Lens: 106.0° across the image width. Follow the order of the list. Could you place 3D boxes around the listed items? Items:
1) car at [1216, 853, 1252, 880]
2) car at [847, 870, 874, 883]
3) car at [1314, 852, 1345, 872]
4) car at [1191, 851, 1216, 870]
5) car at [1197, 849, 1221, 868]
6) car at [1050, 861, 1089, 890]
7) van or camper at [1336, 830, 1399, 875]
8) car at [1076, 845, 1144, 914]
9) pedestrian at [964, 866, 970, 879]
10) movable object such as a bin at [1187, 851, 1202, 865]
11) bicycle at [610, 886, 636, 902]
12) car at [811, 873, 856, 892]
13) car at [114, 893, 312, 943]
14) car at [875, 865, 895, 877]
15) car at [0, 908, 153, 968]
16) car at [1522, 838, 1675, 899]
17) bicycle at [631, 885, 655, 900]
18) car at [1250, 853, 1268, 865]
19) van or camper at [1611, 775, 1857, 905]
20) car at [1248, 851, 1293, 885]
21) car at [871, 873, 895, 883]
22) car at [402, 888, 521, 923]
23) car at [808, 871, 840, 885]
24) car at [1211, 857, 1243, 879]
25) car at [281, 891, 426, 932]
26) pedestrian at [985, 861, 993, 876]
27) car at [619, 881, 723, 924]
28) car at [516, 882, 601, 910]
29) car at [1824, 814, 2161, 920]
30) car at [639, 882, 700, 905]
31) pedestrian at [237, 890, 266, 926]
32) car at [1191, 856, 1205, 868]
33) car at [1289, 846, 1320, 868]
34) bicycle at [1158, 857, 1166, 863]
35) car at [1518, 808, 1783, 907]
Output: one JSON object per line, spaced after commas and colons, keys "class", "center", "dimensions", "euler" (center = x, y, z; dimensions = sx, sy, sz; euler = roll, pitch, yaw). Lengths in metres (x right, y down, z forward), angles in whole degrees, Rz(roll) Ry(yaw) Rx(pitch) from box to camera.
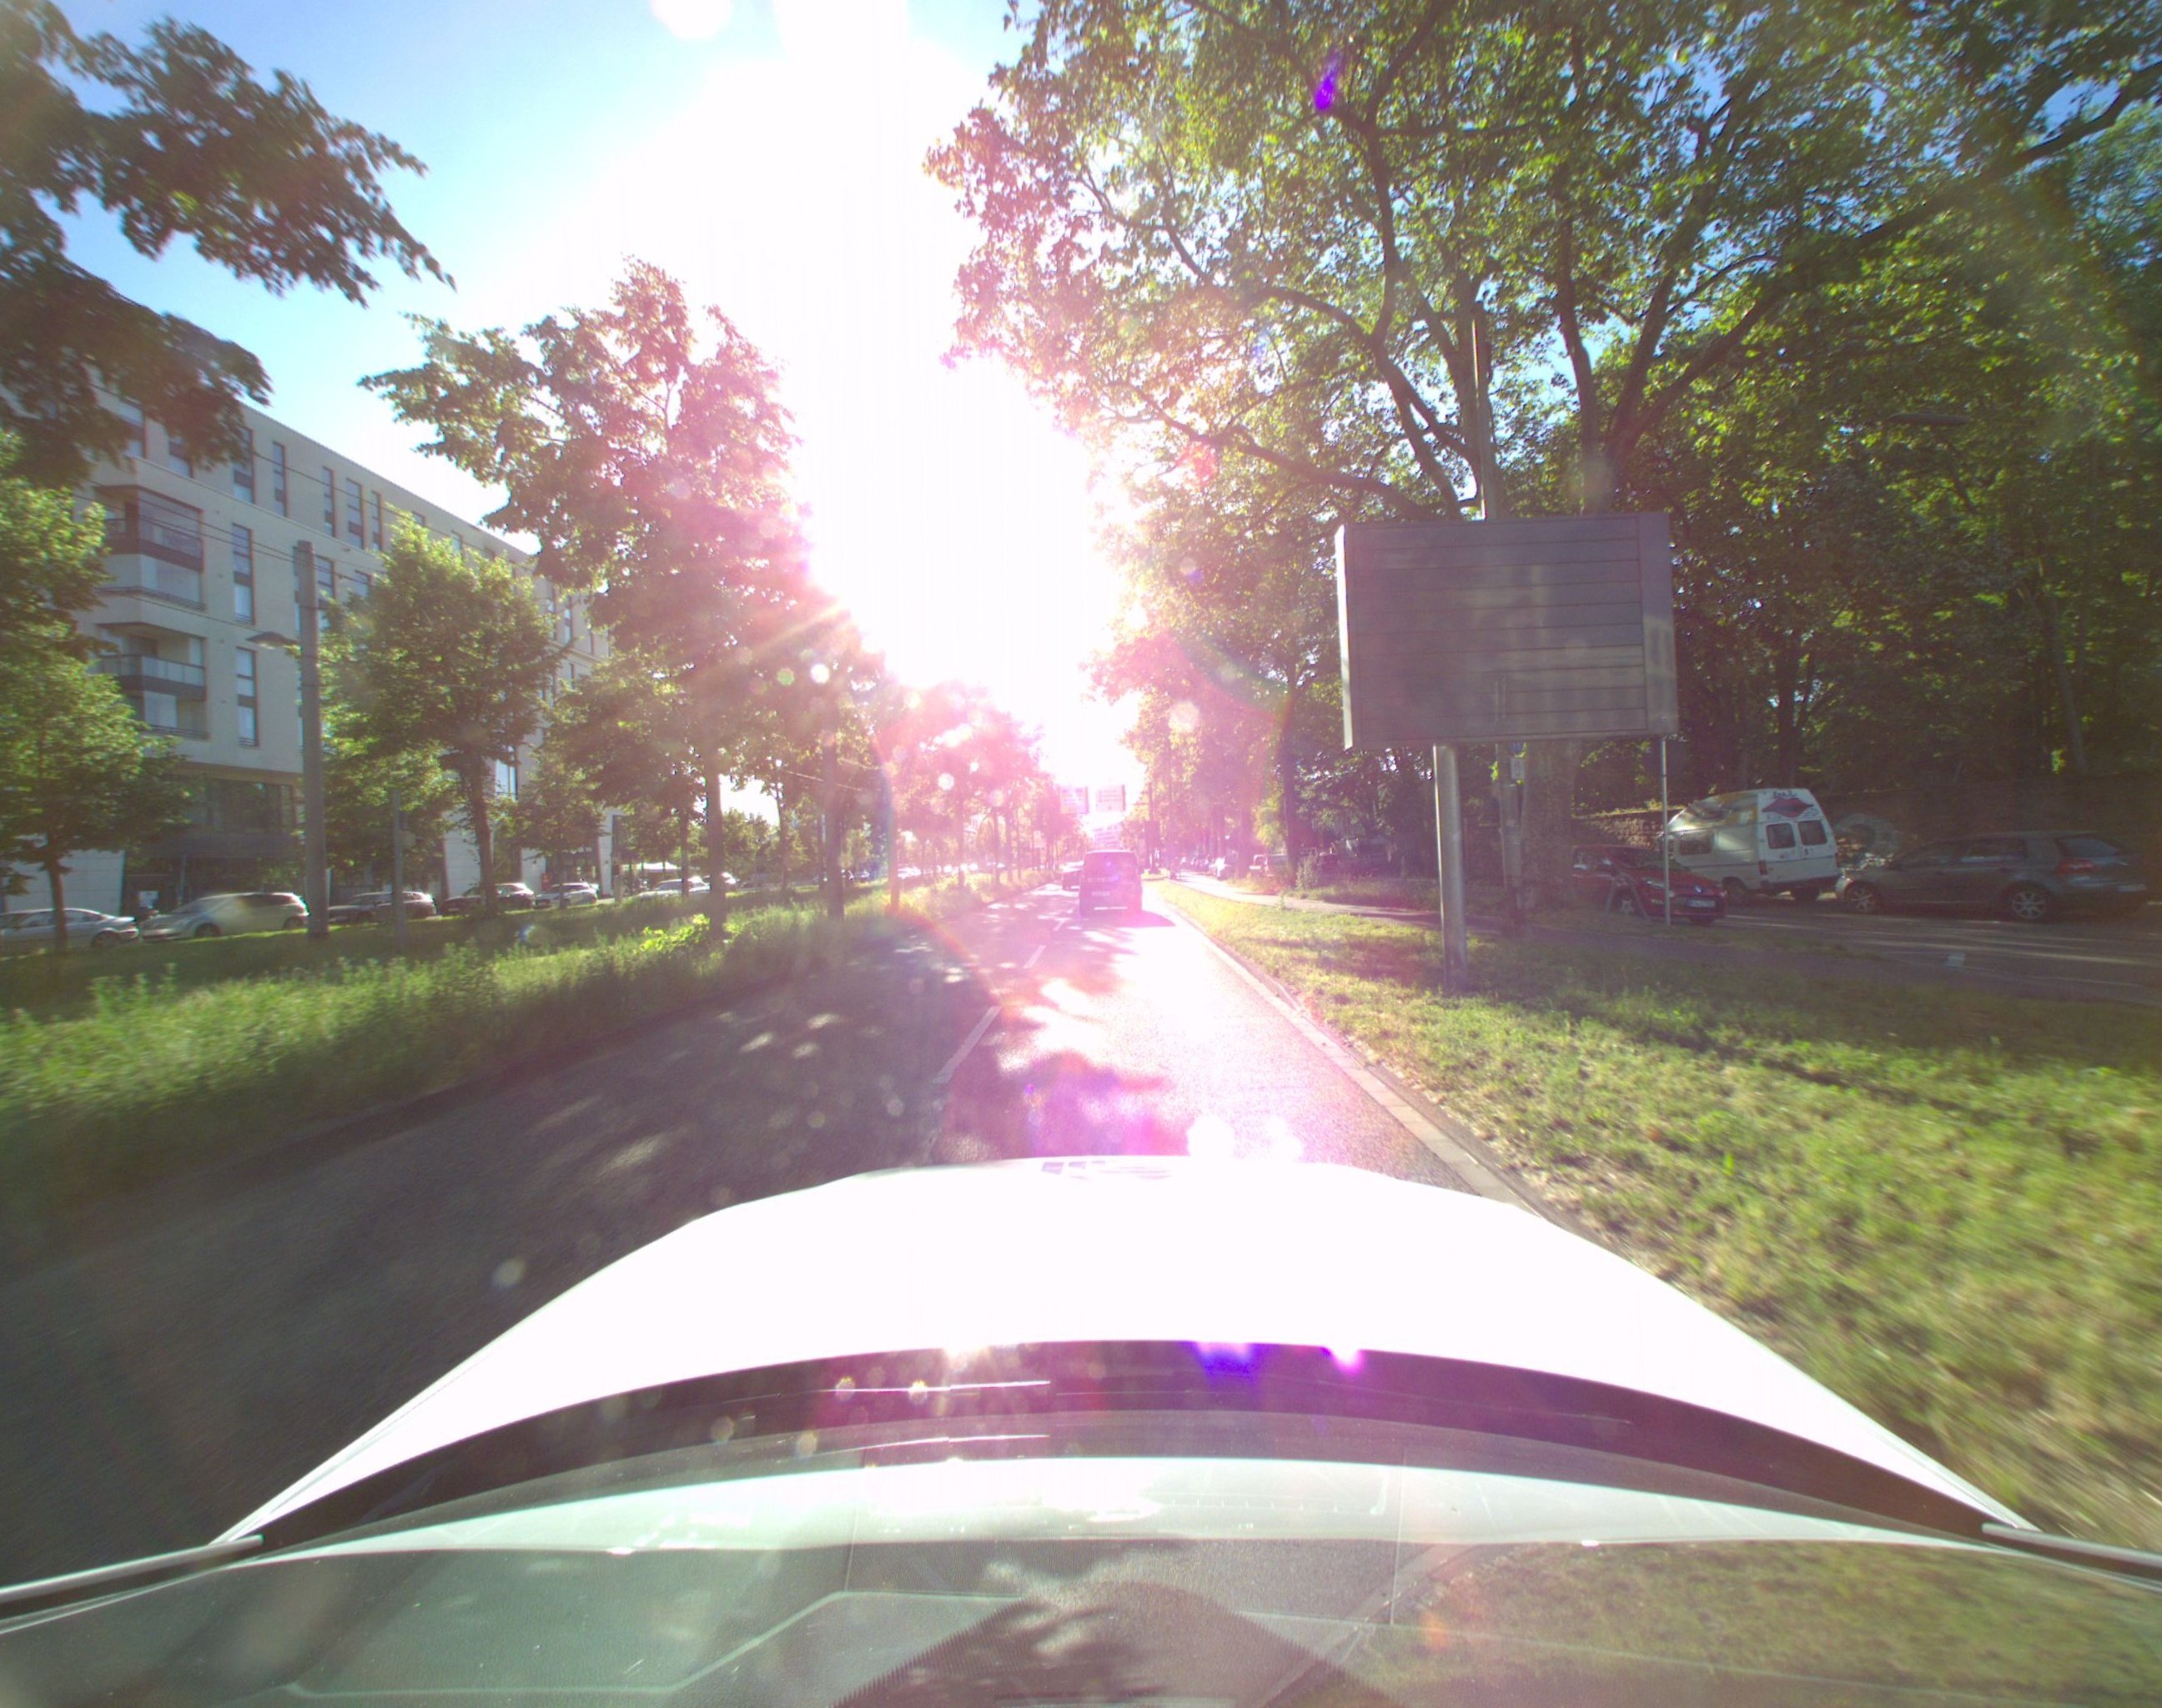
{"class": "car", "center": [9.347, 0.761, 49.920], "dimensions": [1.784, 1.560, 4.026], "euler": [1, -1, 5]}
{"class": "car", "center": [-27.864, 2.860, 103.019], "dimensions": [1.871, 1.621, 4.614], "euler": [-1, -1, 3]}
{"class": "car", "center": [19.993, 0.650, 65.658], "dimensions": [1.681, 1.472, 3.766], "euler": [-4, -1, 8]}
{"class": "car", "center": [13.191, 0.711, 87.818], "dimensions": [2.180, 2.014, 5.825], "euler": [-1, -1, 4]}
{"class": "car", "center": [11.699, 0.444, 74.694], "dimensions": [1.729, 1.642, 4.356], "euler": [-1, -1, 3]}
{"class": "car", "center": [-0.563, 1.103, 42.886], "dimensions": [1.785, 1.428, 4.002], "euler": [-1, -1, 2]}
{"class": "van or camper", "center": [19.383, -0.113, 55.504], "dimensions": [2.543, 2.684, 6.577], "euler": [-4, 0, 7]}
{"class": "car", "center": [0.770, 0.721, 23.894], "dimensions": [1.803, 1.838, 3.998], "euler": [-1, -1, -1]}
{"class": "pedestrian", "center": [-13.468, 2.186, 95.855], "dimensions": [0.547, 1.518, 0.589], "euler": [-1, -1, 7]}
{"class": "movable object such as a bin", "center": [16.081, 0.596, 115.776], "dimensions": [2.071, 2.014, 2.139], "euler": [-1, -1, 6]}
{"class": "bicycle", "center": [-35.971, 3.113, 63.968], "dimensions": [0.731, 1.198, 2.241], "euler": [-1, -1, 1]}
{"class": "car", "center": [-20.513, 2.323, 67.626], "dimensions": [1.984, 1.441, 4.708], "euler": [-1, -1, 5]}
{"class": "car", "center": [-29.932, 2.154, 28.341], "dimensions": [1.986, 1.441, 4.457], "euler": [-1, -1, 2]}
{"class": "car", "center": [-33.336, 2.808, 138.754], "dimensions": [1.985, 2.014, 4.567], "euler": [0, -1, 3]}
{"class": "car", "center": [-30.335, 2.414, 23.348], "dimensions": [1.987, 1.441, 4.778], "euler": [-1, -1, 0]}
{"class": "car", "center": [16.280, 0.438, 25.883], "dimensions": [1.839, 1.617, 3.988], "euler": [-6, 0, -9]}
{"class": "bicycle", "center": [-35.830, 3.156, 66.695], "dimensions": [0.731, 1.198, 2.241], "euler": [-1, -1, 1]}
{"class": "car", "center": [25.927, 0.717, 118.519], "dimensions": [1.985, 1.640, 4.003], "euler": [-1, -1, 3]}
{"class": "van or camper", "center": [16.129, -0.268, 20.580], "dimensions": [1.988, 2.731, 4.962], "euler": [-5, -1, -1]}
{"class": "car", "center": [9.764, 0.735, 42.313], "dimensions": [1.783, 1.634, 4.635], "euler": [-1, -1, 7]}
{"class": "car", "center": [-27.381, 3.285, 112.570], "dimensions": [1.904, 1.325, 4.614], "euler": [-1, -1, 3]}
{"class": "car", "center": [-29.895, 2.433, 39.558], "dimensions": [1.987, 1.441, 4.935], "euler": [-1, -1, 0]}
{"class": "car", "center": [-28.096, 2.576, 89.153], "dimensions": [1.872, 1.435, 4.611], "euler": [-1, -1, 1]}
{"class": "car", "center": [10.183, 0.973, 57.163], "dimensions": [1.785, 1.438, 3.888], "euler": [-1, -1, 4]}
{"class": "car", "center": [-29.938, 2.339, 33.744], "dimensions": [1.987, 1.441, 4.454], "euler": [-1, -1, 0]}
{"class": "pedestrian", "center": [-11.068, 1.734, 98.013], "dimensions": [0.818, 1.836, 0.726], "euler": [-1, -1, -1]}
{"class": "car", "center": [-18.410, 2.138, 36.899], "dimensions": [1.986, 1.686, 5.112], "euler": [-1, -1, 2]}
{"class": "car", "center": [-29.670, 2.358, 46.409], "dimensions": [1.987, 1.441, 4.454], "euler": [-1, -1, 0]}
{"class": "car", "center": [16.410, 0.226, 14.802], "dimensions": [1.989, 1.574, 3.995], "euler": [-3, -1, -3]}
{"class": "car", "center": [-28.903, 2.731, 57.315], "dimensions": [1.950, 1.441, 4.268], "euler": [-1, -1, 2]}
{"class": "pedestrian", "center": [-39.104, 2.527, 38.389], "dimensions": [0.633, 1.651, 0.720], "euler": [-1, -1, 0]}
{"class": "car", "center": [15.133, 1.093, 105.489], "dimensions": [1.654, 1.500, 2.993], "euler": [-1, -1, 5]}
{"class": "car", "center": [21.643, 0.283, 78.994], "dimensions": [2.076, 2.014, 4.952], "euler": [-2, -1, 7]}
{"class": "bicycle", "center": [18.425, 1.386, 185.009], "dimensions": [1.771, 1.268, 0.479], "euler": [-1, -1, 3]}
{"class": "car", "center": [10.619, 0.077, 15.622], "dimensions": [1.992, 1.640, 3.989], "euler": [-1, -1, -8]}
